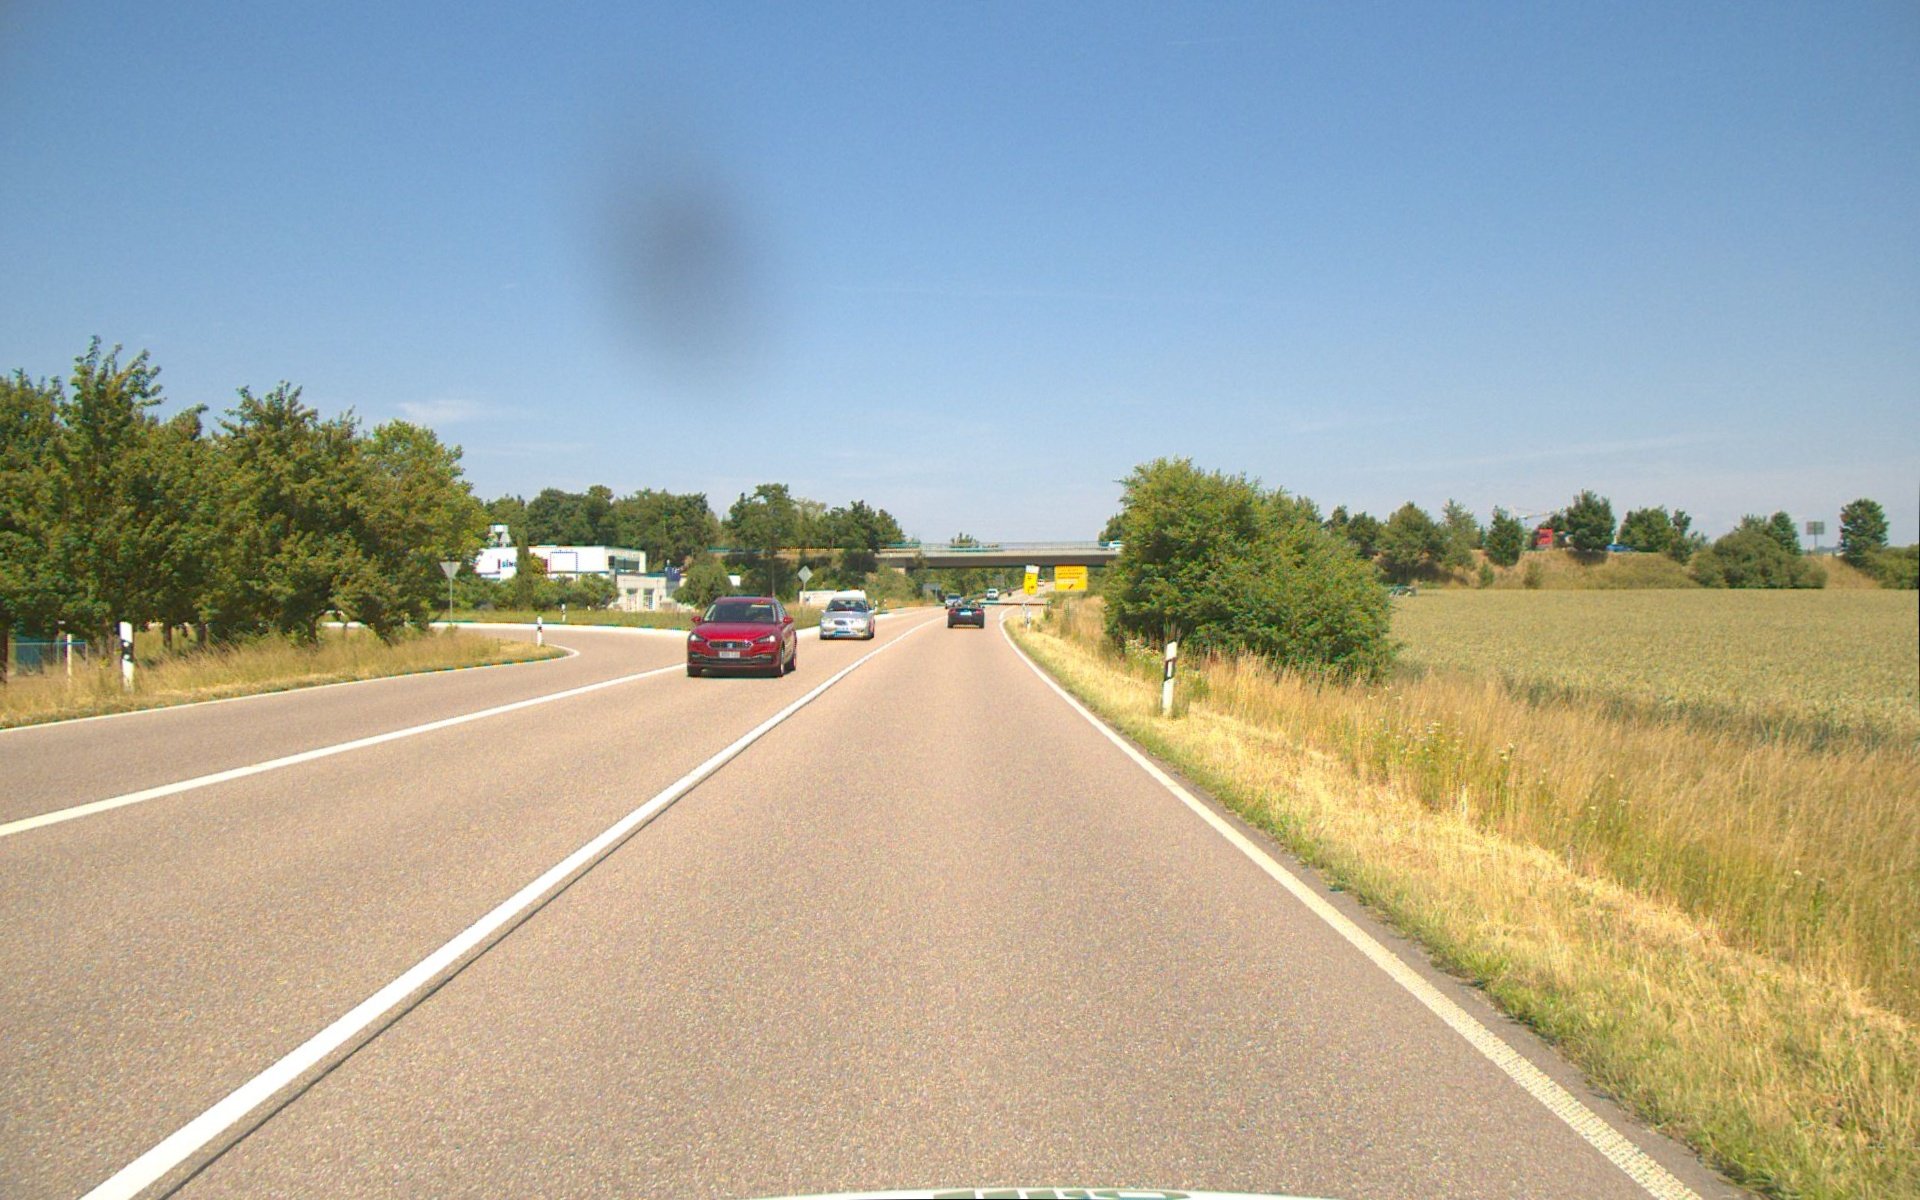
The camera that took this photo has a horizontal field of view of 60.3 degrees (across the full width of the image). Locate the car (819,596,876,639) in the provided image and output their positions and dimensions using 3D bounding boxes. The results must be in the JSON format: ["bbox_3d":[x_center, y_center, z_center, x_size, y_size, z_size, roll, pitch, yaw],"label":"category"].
[{"bbox_3d":[-3.886,0.600,57.765,1.696,1.415,4.491,1,0,-1],"label":"car"}]

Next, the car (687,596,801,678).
[{"bbox_3d":[-4.077,0.656,31.831,1.707,1.436,4.623,1,0,-2],"label":"car"}]

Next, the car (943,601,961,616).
[{"bbox_3d":[-0.816,0.909,174.050,1.794,1.595,3.332,1,-1,-2],"label":"car"}]

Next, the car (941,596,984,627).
[{"bbox_3d":[0.095,0.531,78.599,1.778,1.466,3.997,0,0,-4],"label":"car"}]
